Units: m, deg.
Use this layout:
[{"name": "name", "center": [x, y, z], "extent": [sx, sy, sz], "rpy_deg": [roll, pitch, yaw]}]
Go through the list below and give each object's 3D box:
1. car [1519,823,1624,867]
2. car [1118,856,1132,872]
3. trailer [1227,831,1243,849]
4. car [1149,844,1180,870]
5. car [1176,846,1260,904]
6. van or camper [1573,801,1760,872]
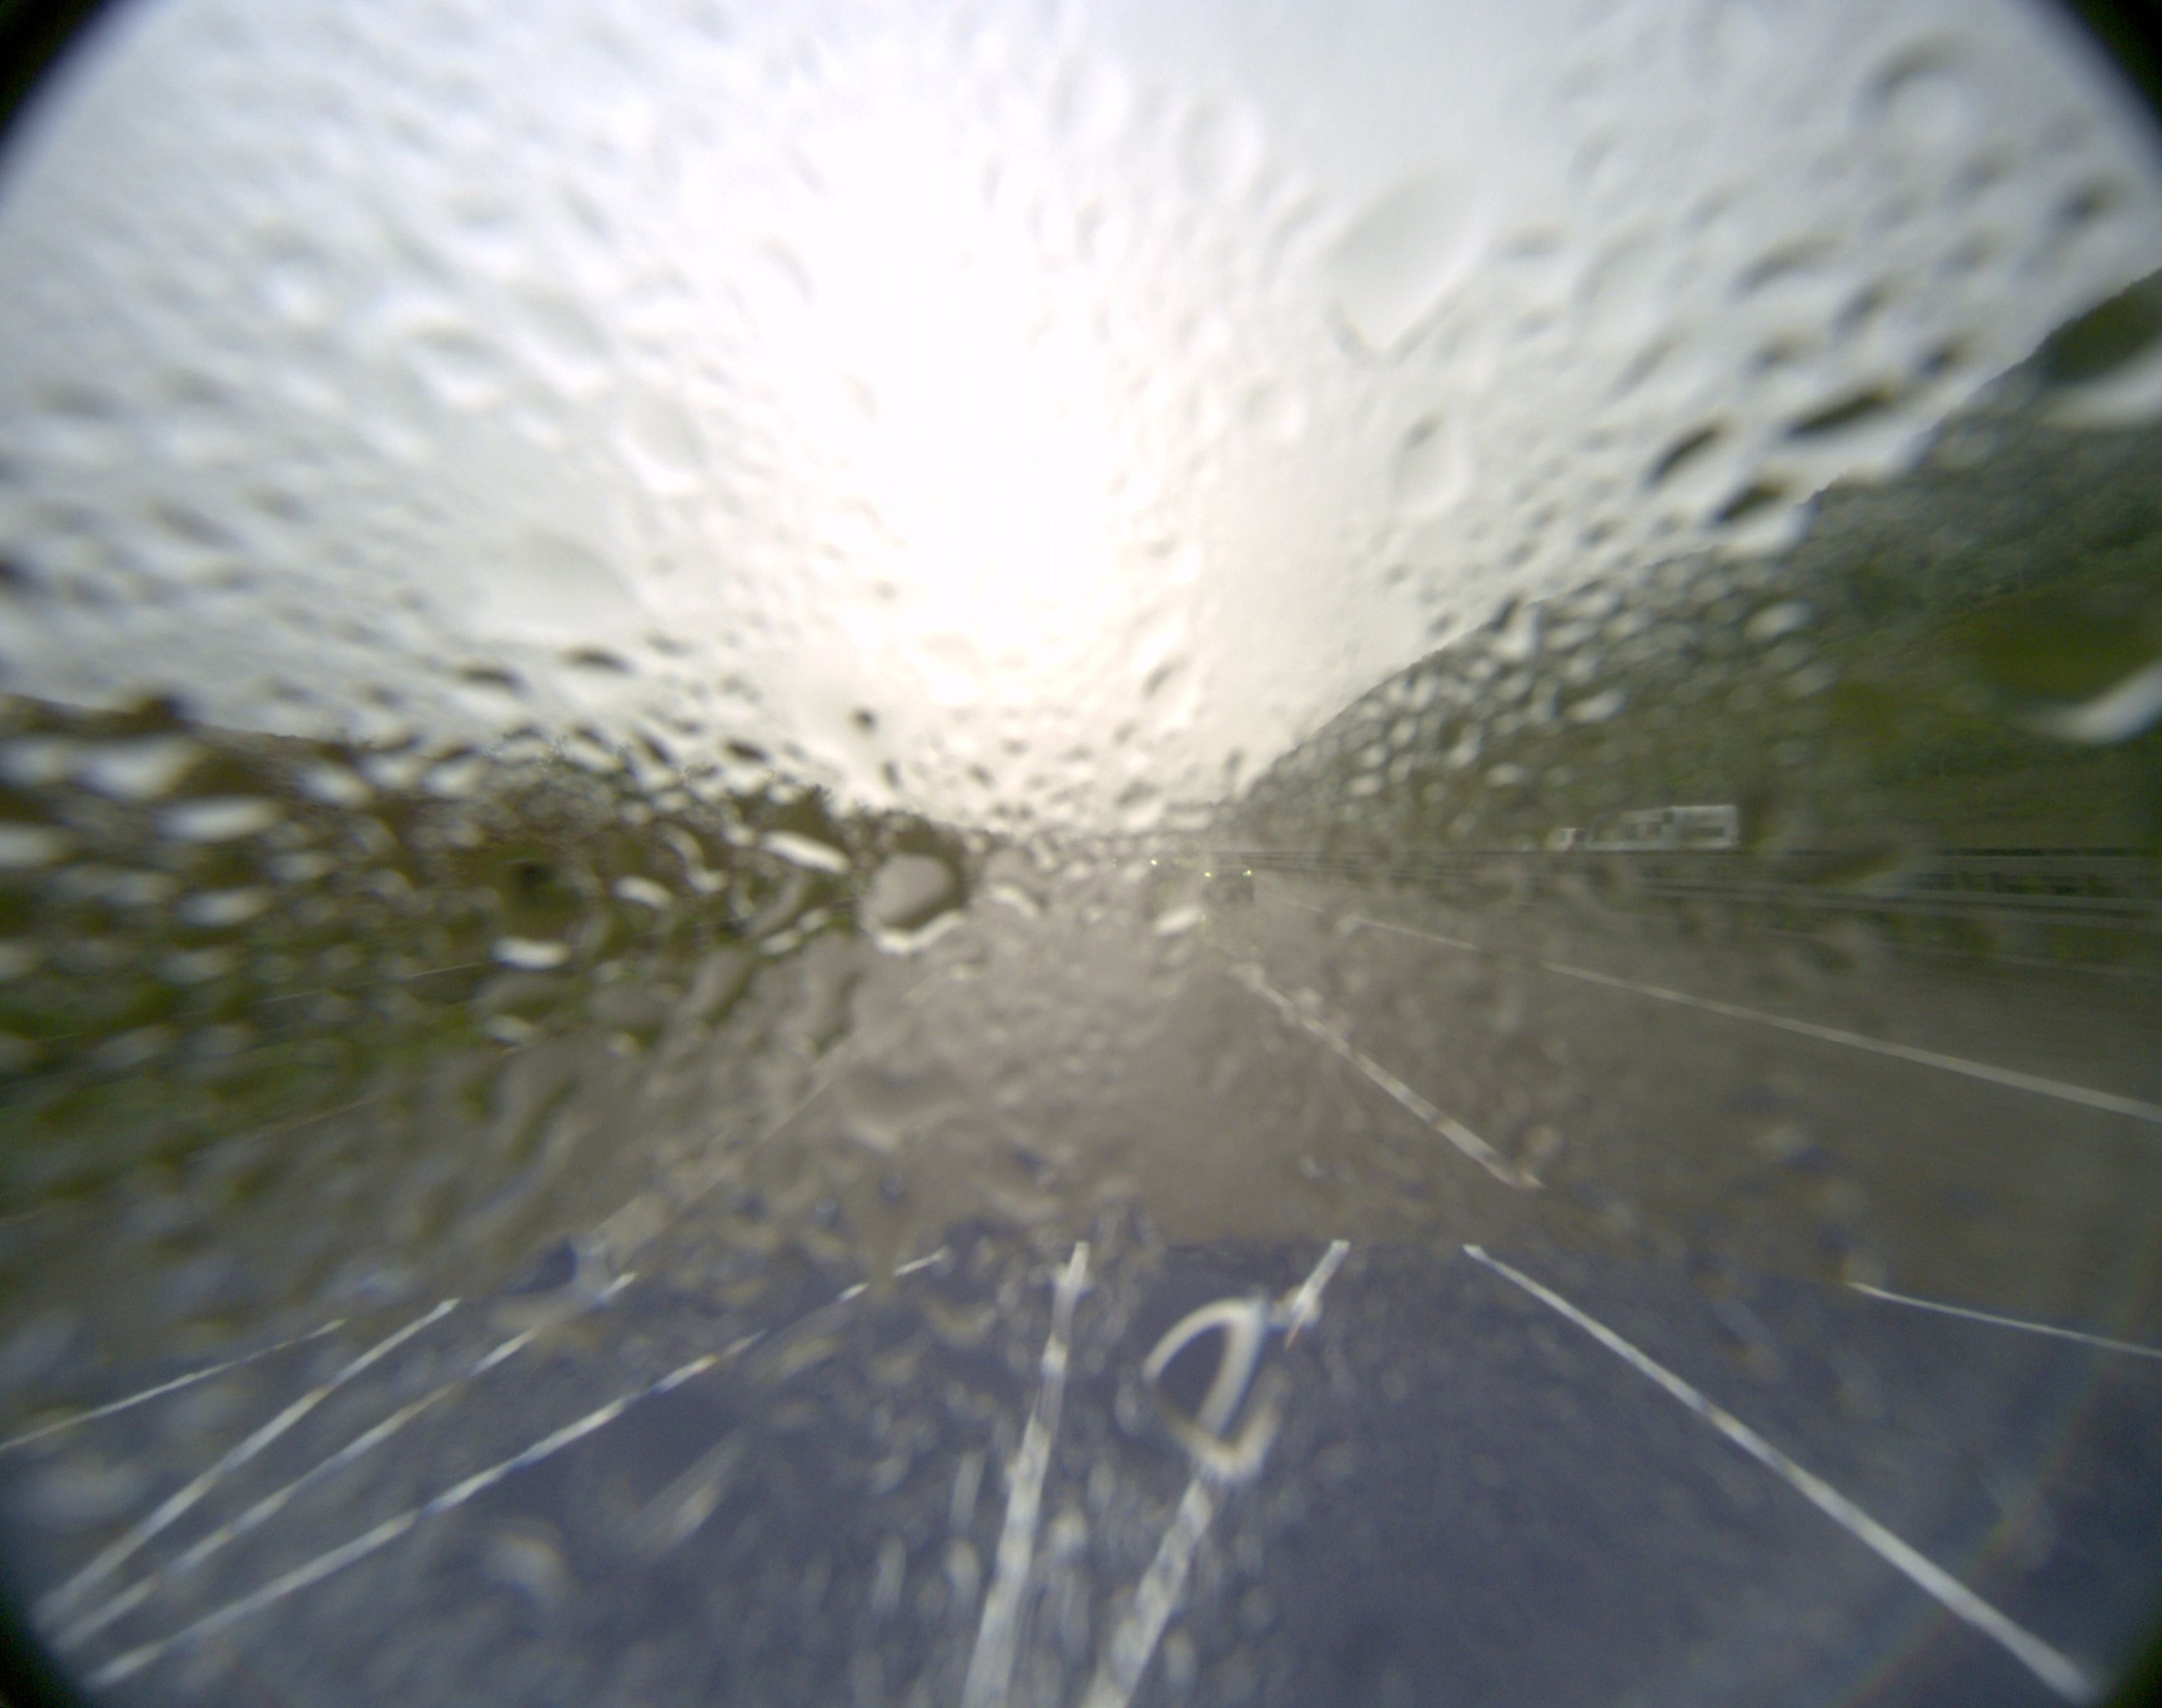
[{"name": "car", "center": [24.392, -0.444, 38.062], "extent": [1.998, 2.004, 5.178], "rpy_deg": [-2, 0, 1]}, {"name": "car", "center": [6.234, 1.417, 108.660], "extent": [1.835, 2.002, 3.938], "rpy_deg": [-3, 1, 2]}, {"name": "trailer", "center": [42.825, -3.760, 211.850], "extent": [2.742, 4.758, 14.047], "rpy_deg": [-3, 0, 6]}, {"name": "car", "center": [5.880, 0.155, 53.748], "extent": [1.814, 1.692, 3.749], "rpy_deg": [-3, 1, 2]}, {"name": "car", "center": [4.522, 0.617, 25.842], "extent": [1.998, 1.673, 4.909], "rpy_deg": [-3, 1, 2]}, {"name": "van or camper", "center": [24.097, -0.675, 31.837], "extent": [2.350, 2.549, 7.205], "rpy_deg": [-2, 0, 1]}]
